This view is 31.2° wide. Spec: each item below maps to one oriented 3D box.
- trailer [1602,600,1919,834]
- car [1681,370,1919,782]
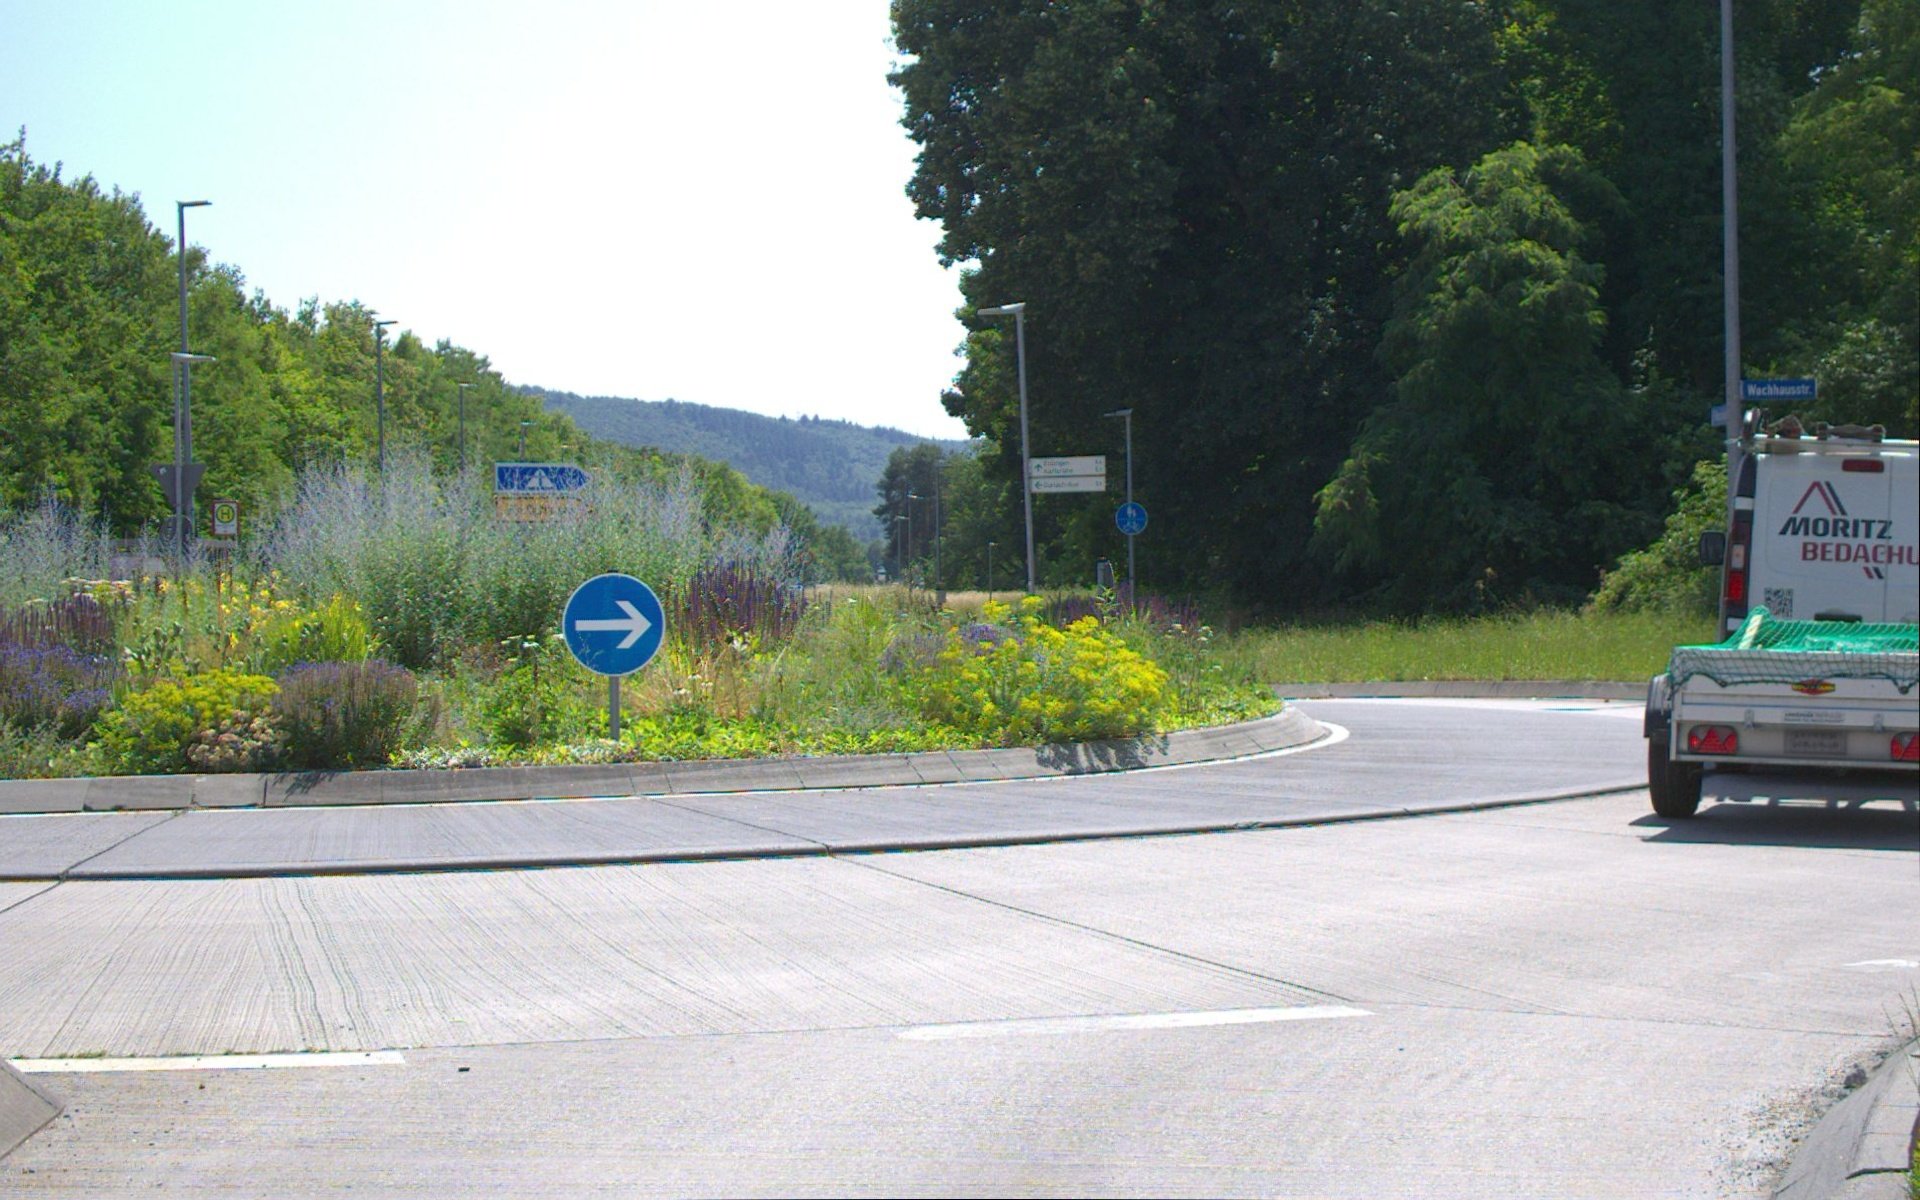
[{"bbox_3d":[4.656,0.549,17.797,2.123,1.093,3.351,0,0,20],"label":"trailer"},{"bbox_3d":[5.798,-0.135,21.714,2.167,2.308,4.978,0,0,15],"label":"car"}]
